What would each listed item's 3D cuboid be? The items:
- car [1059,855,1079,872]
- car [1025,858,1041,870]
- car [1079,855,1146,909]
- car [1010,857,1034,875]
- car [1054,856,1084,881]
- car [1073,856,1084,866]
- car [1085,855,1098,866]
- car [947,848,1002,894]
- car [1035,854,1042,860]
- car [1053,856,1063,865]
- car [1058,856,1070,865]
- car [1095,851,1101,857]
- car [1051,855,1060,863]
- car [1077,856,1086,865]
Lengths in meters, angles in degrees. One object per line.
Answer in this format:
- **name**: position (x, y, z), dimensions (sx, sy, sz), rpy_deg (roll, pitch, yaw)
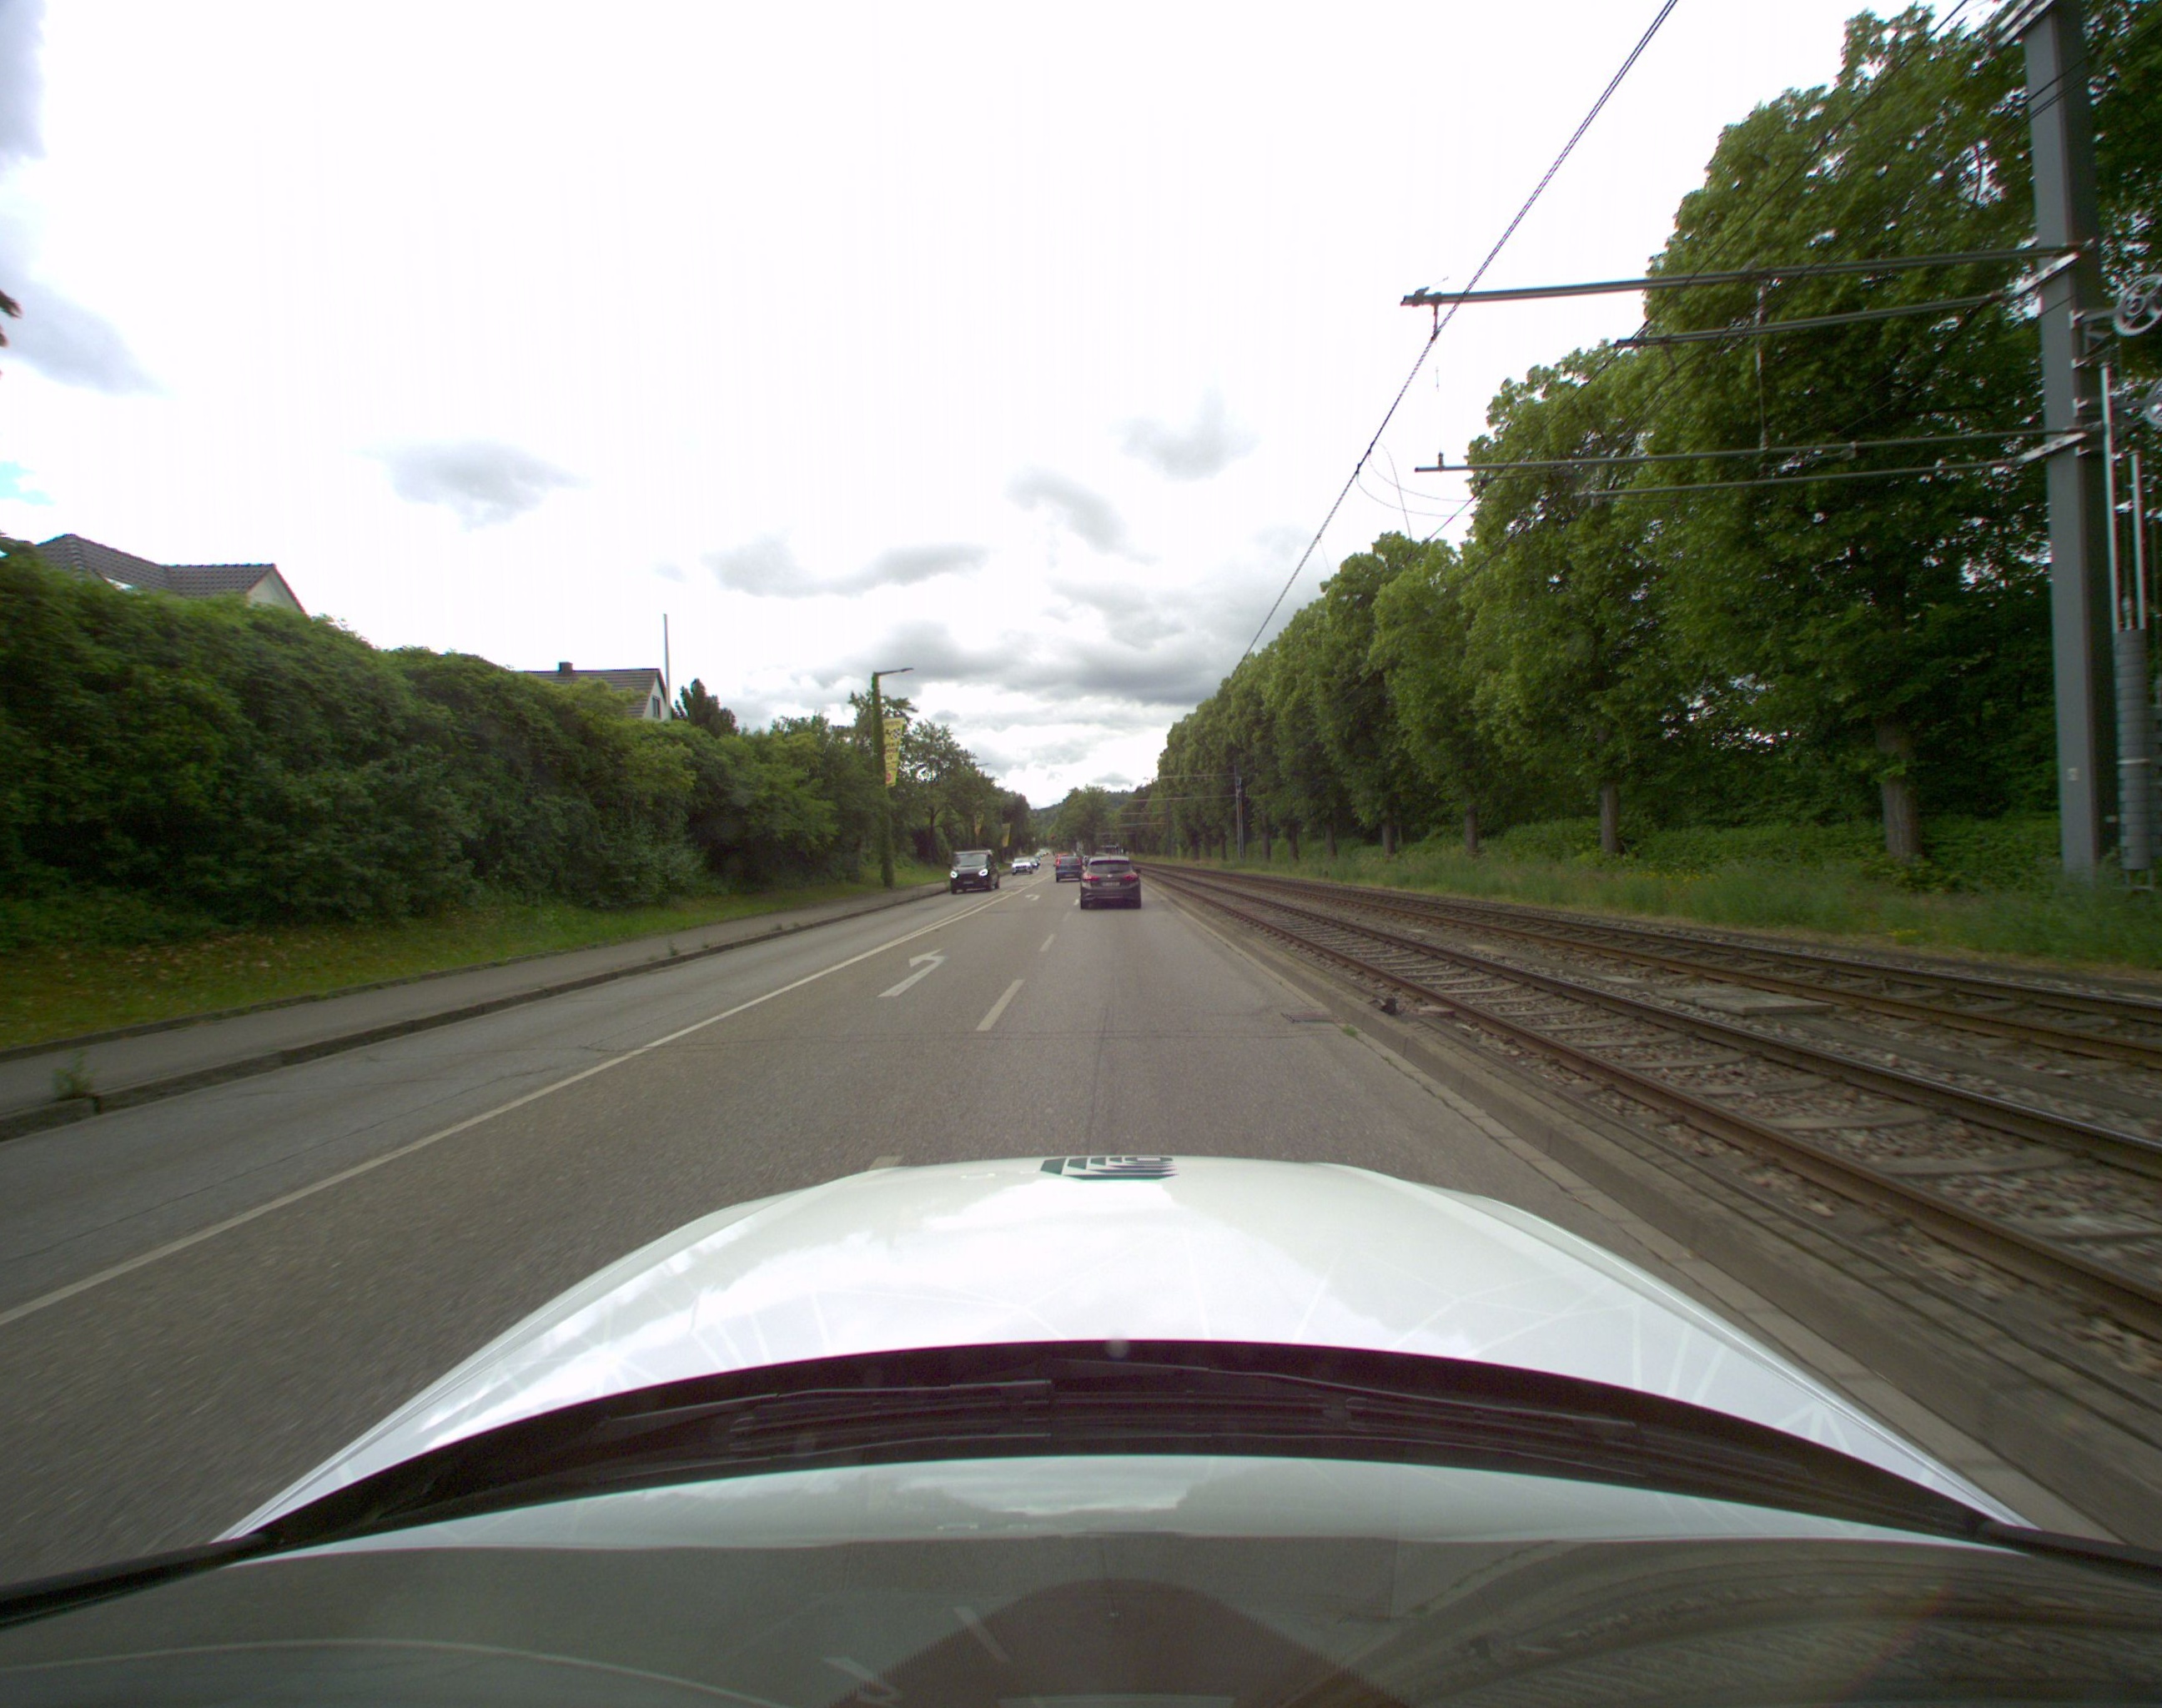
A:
- **car**: position (-1.081, 0.862, 75.755), dimensions (1.694, 1.443, 4.000), rpy_deg (-1, 0, 0)
- **car**: position (-6.082, 1.293, 104.118), dimensions (1.761, 1.400, 4.214), rpy_deg (-4, 0, -1)
- **car**: position (0.958, 0.788, 24.870), dimensions (1.843, 1.493, 4.002), rpy_deg (-1, 0, 2)
- **car**: position (-5.621, 1.145, 78.096), dimensions (1.836, 1.620, 4.158), rpy_deg (-4, 0, 0)
- **car**: position (-0.729, 0.834, 49.002), dimensions (1.694, 1.443, 3.999), rpy_deg (-1, 0, -1)
- **car**: position (-0.403, 1.144, 129.659), dimensions (1.709, 1.550, 4.000), rpy_deg (-1, -1, 0)
- **car**: position (1.440, 0.897, 113.416), dimensions (1.709, 1.550, 4.000), rpy_deg (-1, -1, 0)
- **car**: position (-5.306, 0.813, 41.219), dimensions (1.987, 2.036, 5.115), rpy_deg (-4, 0, 0)
- **car**: position (-12.550, 0.847, 240.823), dimensions (1.710, 1.760, 3.997), rpy_deg (-1, -1, -1)
- **car**: position (-4.786, 1.389, 168.121), dimensions (1.693, 1.714, 4.002), rpy_deg (-1, 0, 2)
- **car**: position (-2.958, 1.195, 144.584), dimensions (1.787, 1.510, 4.002), rpy_deg (-1, 0, 2)
- **car**: position (4.922, -0.055, 234.139), dimensions (1.710, 1.663, 3.705), rpy_deg (-1, -1, -1)
- **car**: position (-5.574, 1.010, 178.016), dimensions (1.693, 1.714, 4.002), rpy_deg (-1, 0, 2)
- **car**: position (0.109, 1.186, 152.509), dimensions (1.709, 1.550, 4.000), rpy_deg (-1, -1, 0)
